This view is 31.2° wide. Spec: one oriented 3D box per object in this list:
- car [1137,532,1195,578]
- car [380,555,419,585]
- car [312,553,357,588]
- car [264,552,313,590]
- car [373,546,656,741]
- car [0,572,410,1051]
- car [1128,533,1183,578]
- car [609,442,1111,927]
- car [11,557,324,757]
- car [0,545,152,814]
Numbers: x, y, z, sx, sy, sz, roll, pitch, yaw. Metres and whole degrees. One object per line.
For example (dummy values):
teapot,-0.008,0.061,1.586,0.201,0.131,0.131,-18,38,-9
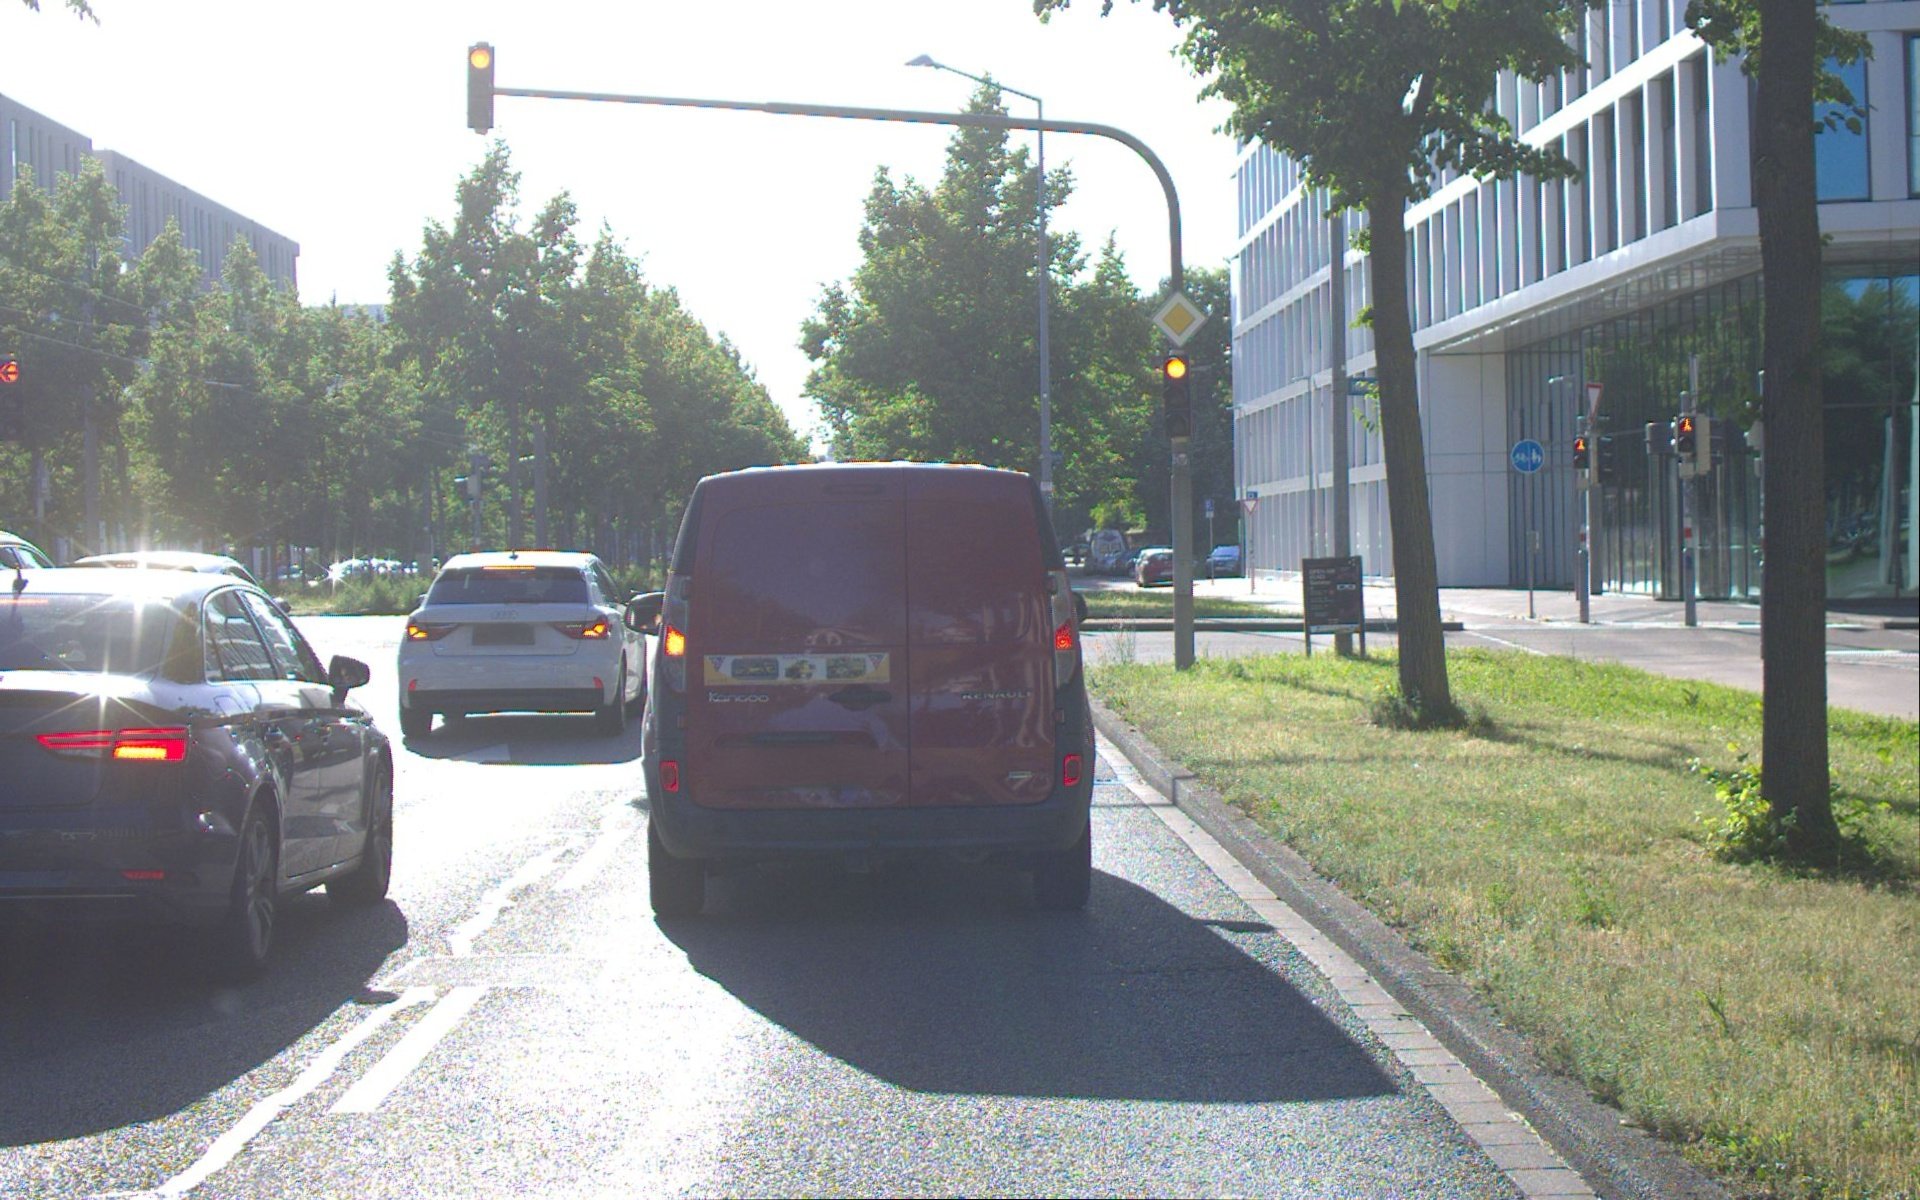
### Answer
car,8.246,-1.804,138.028,1.993,1.776,4.000,-1,1,-1
car,-37.990,-2.046,233.102,1.993,2.007,4.000,-1,1,-1
car,-38.092,-1.811,209.460,1.993,2.007,4.000,-1,1,-1
car,-37.622,-1.636,192.645,1.993,2.007,4.000,-1,1,-1
car,-3.515,0.296,27.774,1.803,1.421,3.901,-1,1,-1
car,-3.292,0.645,12.723,1.842,1.421,4.339,-1,1,-1
car,8.130,-1.859,143.199,1.993,1.776,4.000,-1,1,-1
car,-0.401,0.282,14.863,1.842,1.774,4.000,-1,1,-1
car,-6.578,0.418,29.004,1.799,1.478,4.569,2,1,-3
car,-6.241,0.444,20.687,1.799,1.442,4.569,-3,1,-2
